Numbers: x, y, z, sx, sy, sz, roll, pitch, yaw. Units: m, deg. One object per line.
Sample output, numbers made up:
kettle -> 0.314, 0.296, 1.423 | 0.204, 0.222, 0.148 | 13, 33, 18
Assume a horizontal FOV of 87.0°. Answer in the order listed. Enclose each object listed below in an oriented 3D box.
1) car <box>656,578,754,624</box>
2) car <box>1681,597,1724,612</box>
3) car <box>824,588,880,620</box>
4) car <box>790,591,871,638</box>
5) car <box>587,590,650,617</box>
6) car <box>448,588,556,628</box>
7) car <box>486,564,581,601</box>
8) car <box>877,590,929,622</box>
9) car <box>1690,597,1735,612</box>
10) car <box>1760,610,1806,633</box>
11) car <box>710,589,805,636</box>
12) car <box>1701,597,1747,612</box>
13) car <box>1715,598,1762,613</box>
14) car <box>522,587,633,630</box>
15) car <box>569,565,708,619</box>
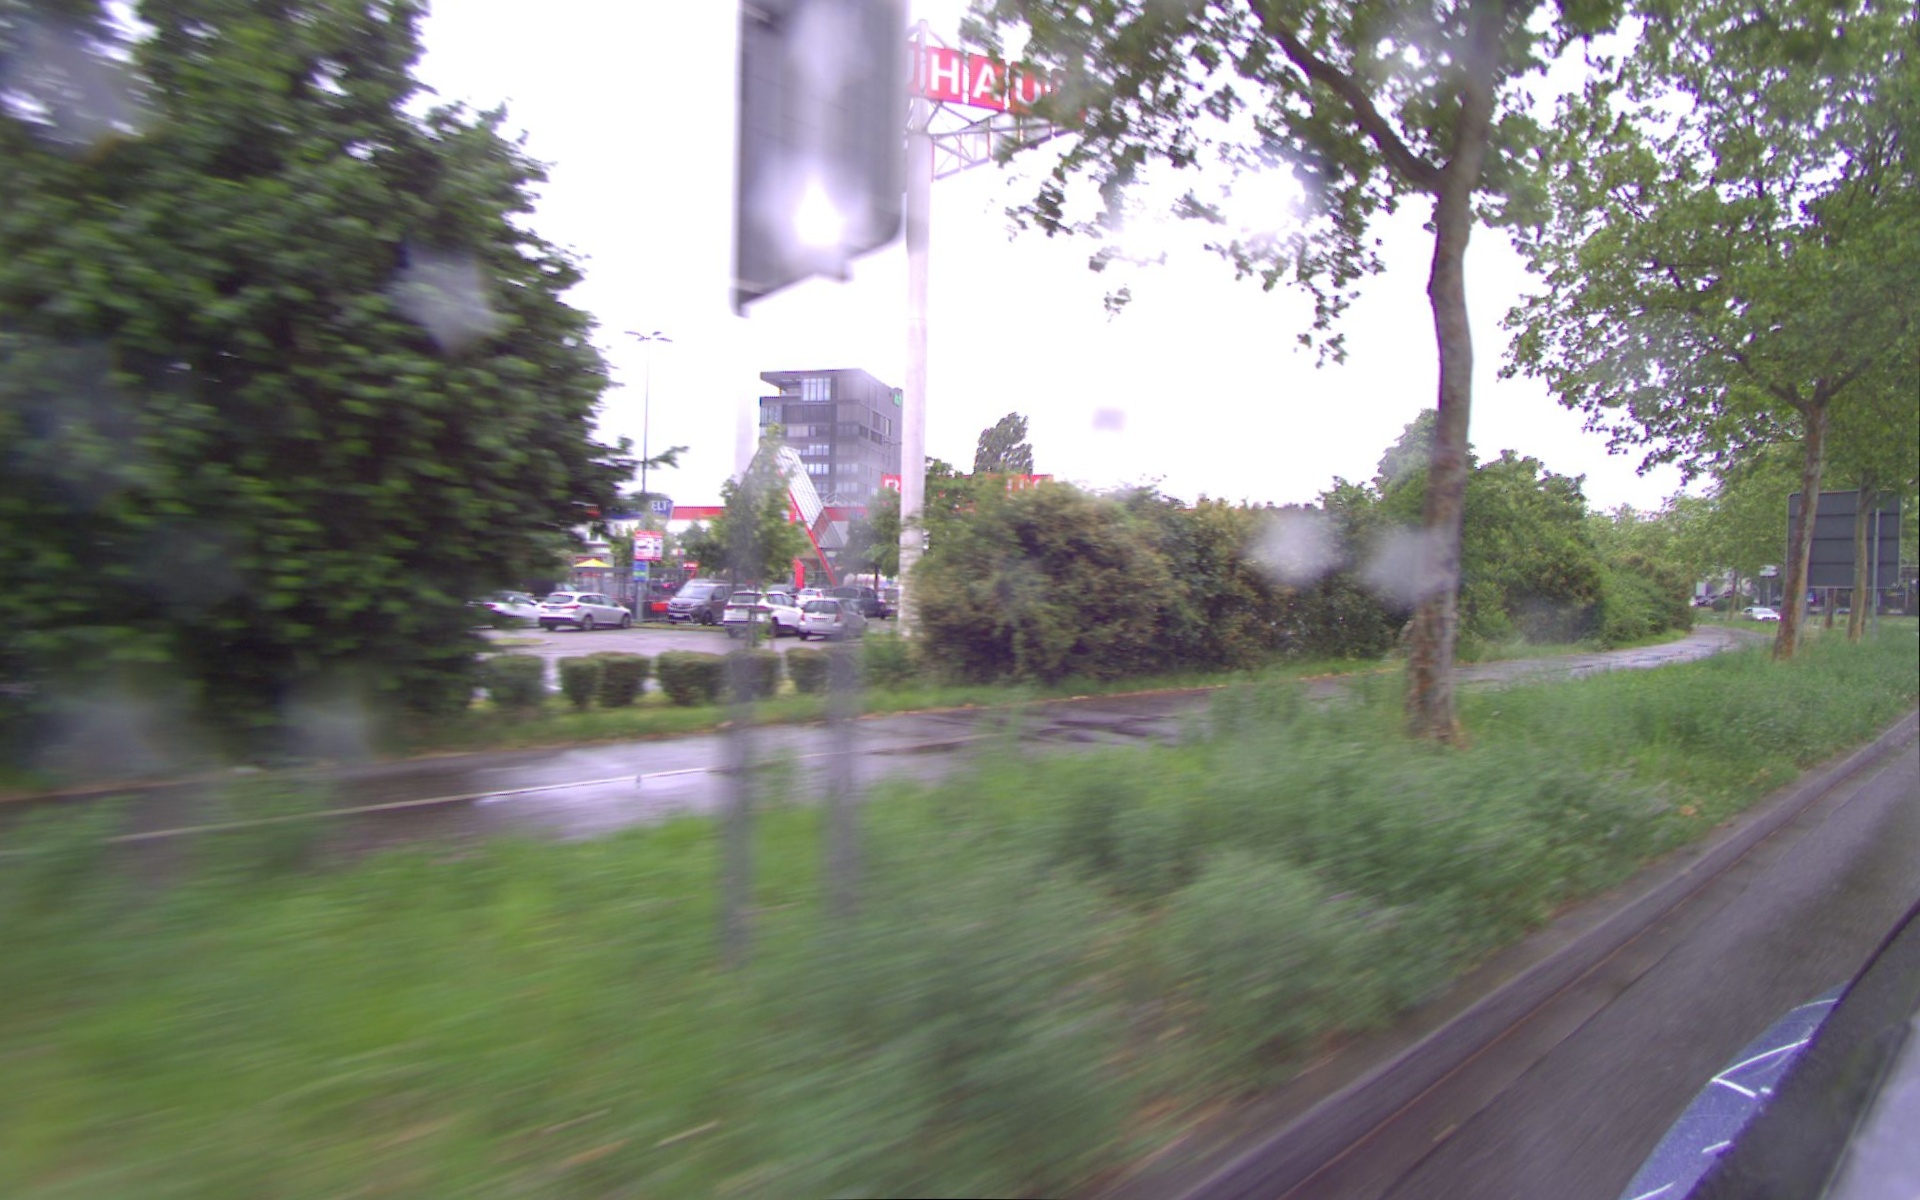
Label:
car -> -11.388, 0.036, 45.499 | 1.975, 1.922, 4.720 | 0, 0, 20
car -> 90.160, 0.514, 122.910 | 3.923, 1.681, 1.865 | -1, 0, -1
car -> -5.852, 0.228, 55.535 | 1.908, 1.655, 4.325 | 0, 0, 11
car -> -4.764, 0.514, 37.967 | 1.907, 1.655, 4.328 | 0, 0, 9
car -> -20.150, 0.212, 59.876 | 1.779, 1.546, 3.491 | 0, 0, 19
car -> -18.047, 0.302, 40.049 | 1.779, 1.473, 4.012 | 0, 0, 15
car -> -20.180, -0.806, 48.035 | 1.916, 1.655, 4.003 | 0, 0, 21
car -> -3.071, 0.310, 55.470 | 1.908, 1.655, 4.325 | 0, 0, 11
car -> 89.807, 0.538, 120.747 | 3.923, 1.681, 1.865 | -1, 0, -1
car -> 64.569, 1.632, 79.492 | 1.981, 1.672, 3.962 | 1, 0, 27
car -> -7.502, 0.449, 37.986 | 1.910, 1.655, 4.321 | 0, 0, 13
car -> 89.459, 0.562, 118.481 | 3.923, 1.681, 1.865 | -1, 0, -1
car -> 89.310, 0.613, 116.060 | 3.923, 1.681, 1.865 | -1, 0, -1
car -> -14.899, 0.316, 39.679 | 1.911, 1.546, 4.318 | 0, 0, 15
car -> -15.057, -0.353, 48.154 | 2.552, 2.386, 7.533 | 0, 0, 16
